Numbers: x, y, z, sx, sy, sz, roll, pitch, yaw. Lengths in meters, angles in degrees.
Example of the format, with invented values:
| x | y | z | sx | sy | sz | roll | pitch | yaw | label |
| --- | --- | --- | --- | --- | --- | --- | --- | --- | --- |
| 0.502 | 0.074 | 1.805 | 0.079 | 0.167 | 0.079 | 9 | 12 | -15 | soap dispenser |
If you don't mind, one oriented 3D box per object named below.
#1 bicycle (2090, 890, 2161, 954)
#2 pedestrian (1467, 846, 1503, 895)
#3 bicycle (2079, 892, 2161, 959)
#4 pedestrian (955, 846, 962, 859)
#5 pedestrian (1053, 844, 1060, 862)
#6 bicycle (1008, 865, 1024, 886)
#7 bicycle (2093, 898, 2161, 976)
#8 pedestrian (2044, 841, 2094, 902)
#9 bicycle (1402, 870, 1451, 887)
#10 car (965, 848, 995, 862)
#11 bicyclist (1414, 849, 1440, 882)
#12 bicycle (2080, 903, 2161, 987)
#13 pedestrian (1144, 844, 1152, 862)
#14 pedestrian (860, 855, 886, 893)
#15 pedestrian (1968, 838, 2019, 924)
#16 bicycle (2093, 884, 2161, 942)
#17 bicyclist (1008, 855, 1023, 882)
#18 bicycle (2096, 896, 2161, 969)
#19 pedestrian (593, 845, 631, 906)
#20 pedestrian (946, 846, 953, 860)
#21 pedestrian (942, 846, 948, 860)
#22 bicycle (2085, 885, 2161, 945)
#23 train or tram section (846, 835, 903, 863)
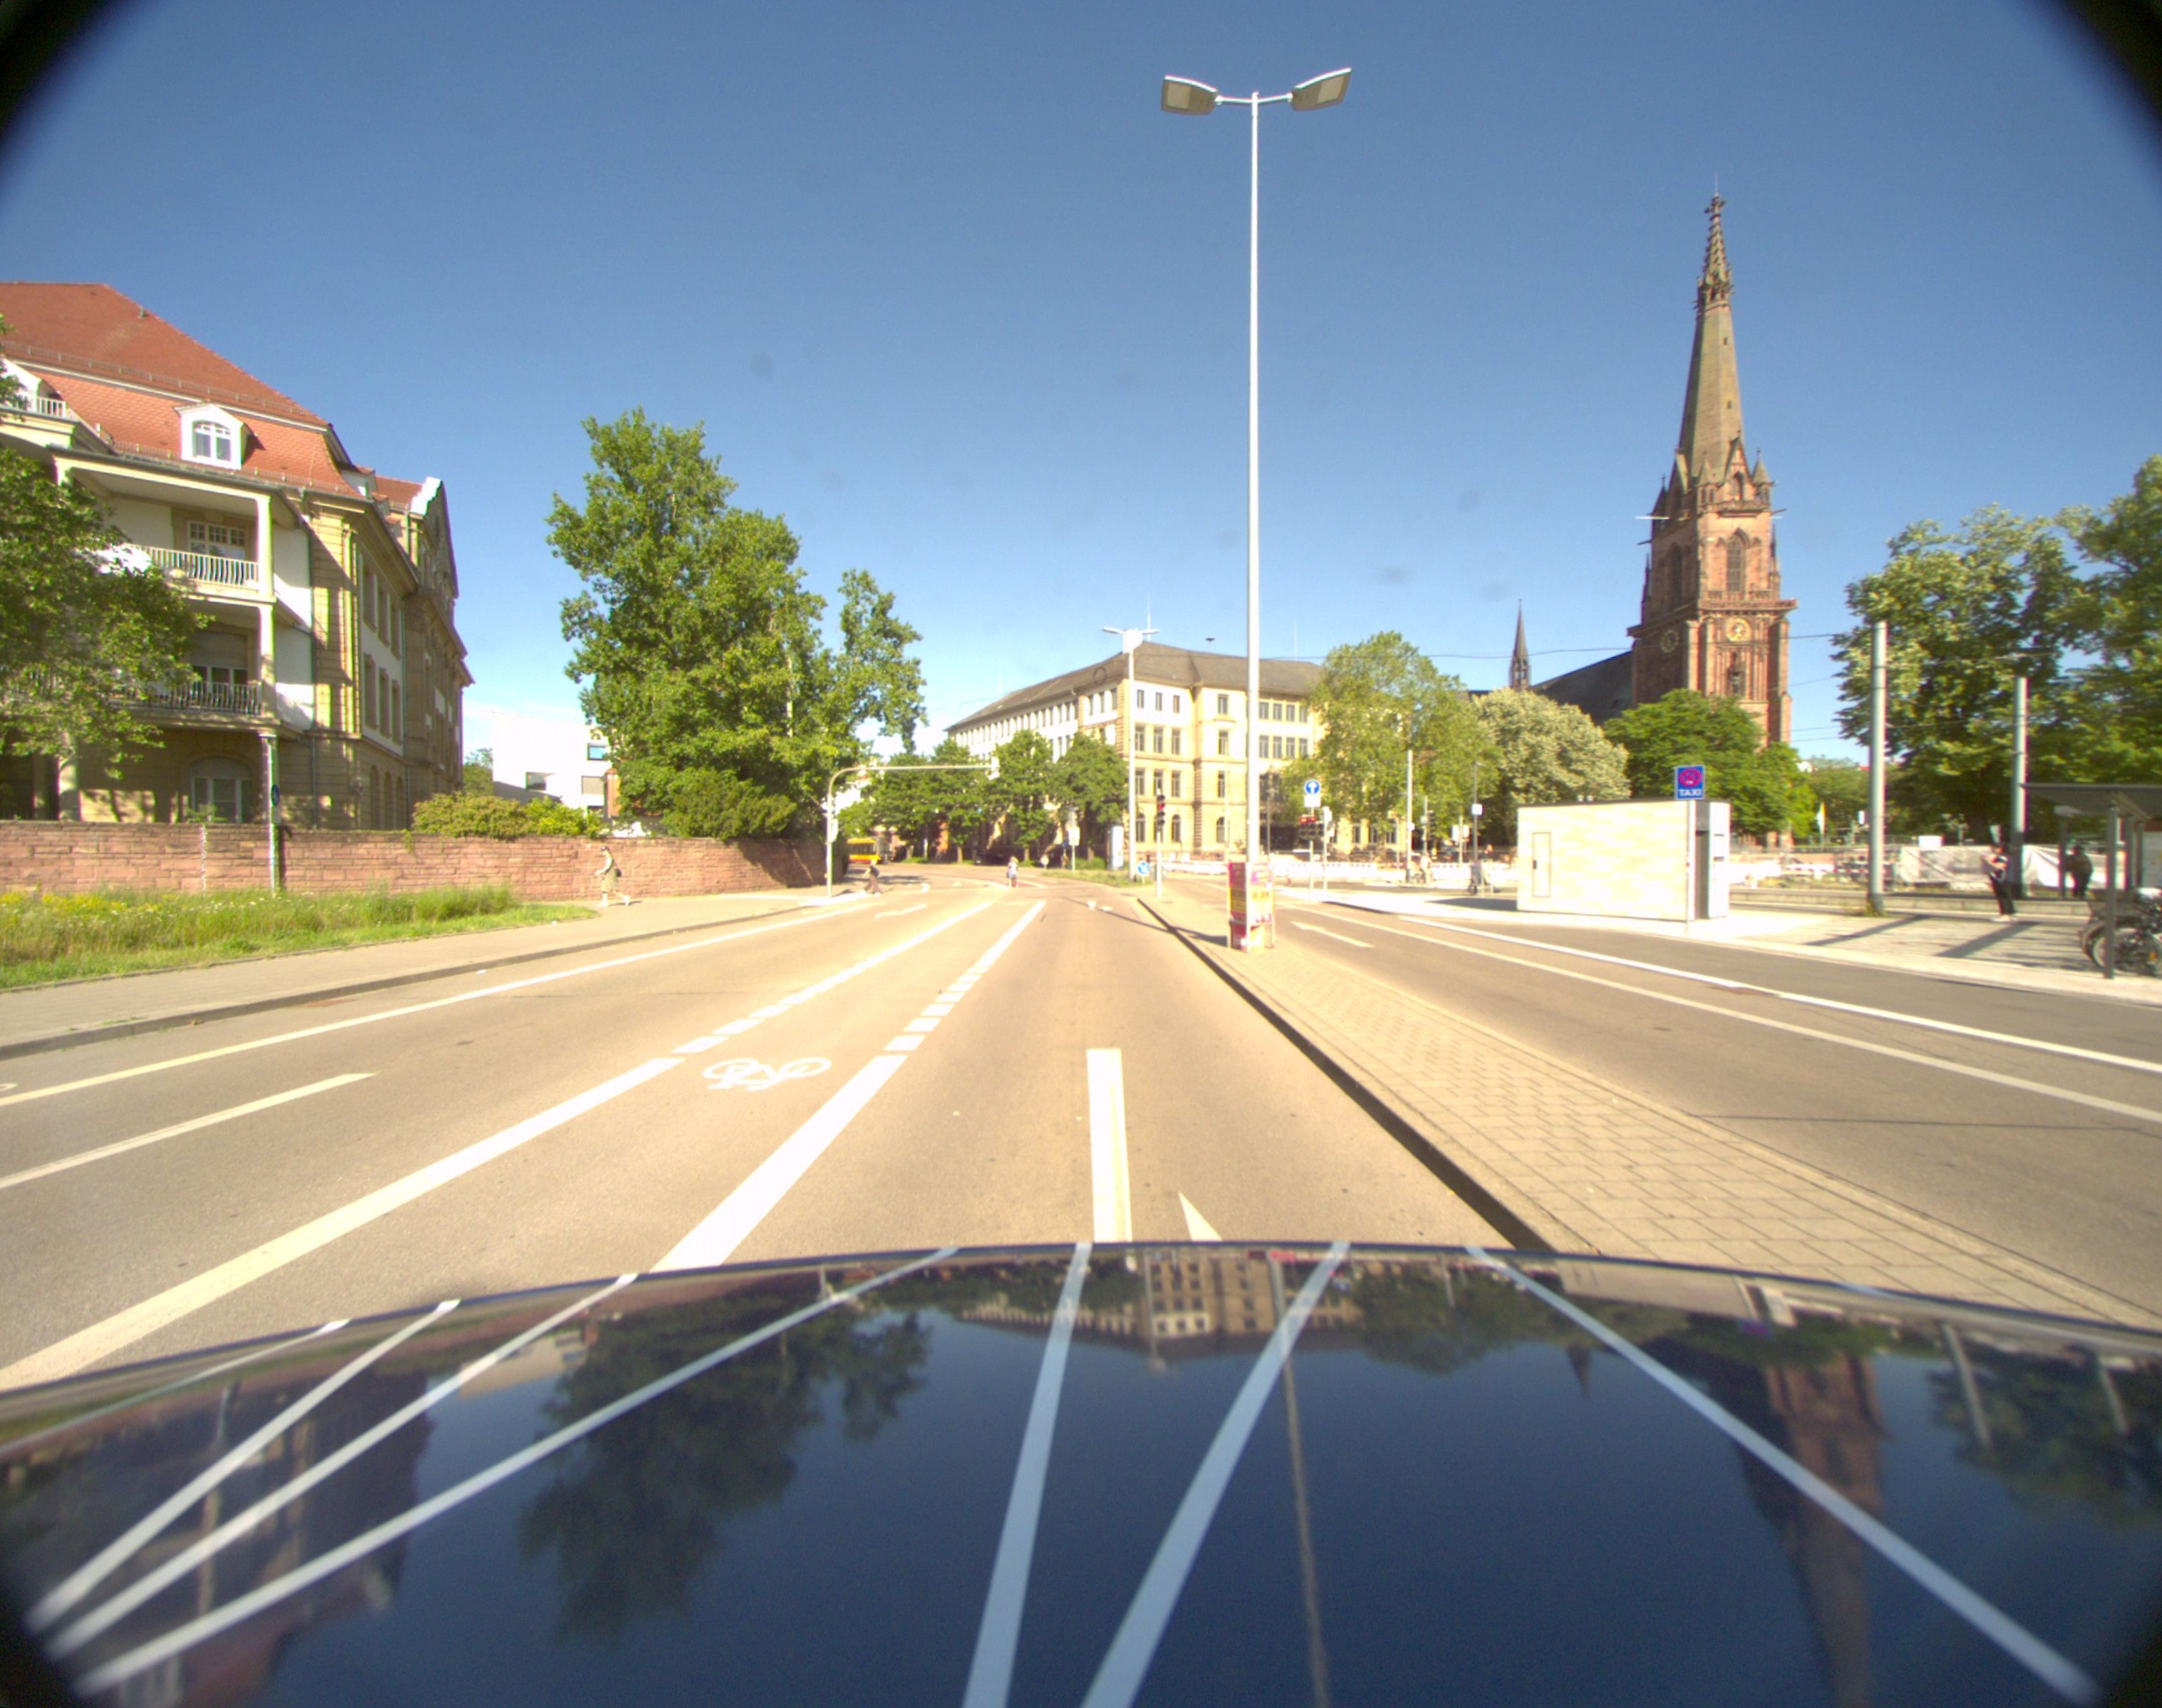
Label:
| x | y | z | sx | sy | sz | roll | pitch | yaw | label |
| --- | --- | --- | --- | --- | --- | --- | --- | --- | --- |
| 17.969 | 1.137 | 12.460 | 0.407 | 0.993 | 1.679 | -3 | 2 | -33 | bicycle |
| 14.537 | 0.584 | 27.350 | 1.001 | 1.733 | 0.631 | 0 | 1 | 8 | pedestrian |
| 17.189 | 1.141 | 12.013 | 0.407 | 0.993 | 1.679 | -3 | 2 | -33 | bicycle |
| -17.366 | -0.196 | 107.732 | 0.578 | 1.893 | 0.849 | -1 | 1 | -36 | pedestrian |
| -2.744 | -0.137 | 84.911 | 0.557 | 2.002 | 0.645 | -1 | 1 | -37 | pedestrian |
| -3.417 | 1.120 | 39.698 | 0.741 | 0.989 | 2.305 | -2 | 1 | -6 | bicycle |
| 15.035 | 1.166 | 10.209 | 0.407 | 0.993 | 1.678 | -3 | 3 | -33 | bicycle |
| 30.614 | 0.526 | 23.551 | 0.619 | 1.849 | 0.703 | 0 | 1 | 11 | pedestrian |
| 16.772 | 1.185 | 36.877 | 2.052 | 0.777 | 0.741 | 0 | 1 | -6 | bicycle |
| -12.033 | 0.139 | 90.608 | 1.839 | 1.587 | 3.989 | -1 | 1 | -37 | car |
| 16.766 | 0.554 | 36.856 | 0.886 | 1.562 | 0.740 | 0 | 1 | -8 | bicyclist |
| 13.990 | 1.188 | 9.551 | 0.407 | 0.993 | 1.678 | -3 | 3 | -33 | bicycle |
| 6.162 | -0.096 | 69.883 | 0.540 | 1.710 | 0.545 | -1 | 1 | -37 | pedestrian |
| -9.166 | 0.889 | 33.570 | 0.931 | 1.657 | 0.631 | 0 | 1 | 5 | pedestrian |
| 20.324 | 0.584 | 16.924 | 0.622 | 1.849 | 0.700 | -1 | 1 | -39 | pedestrian |
| 19.518 | 1.064 | 13.580 | 0.407 | 0.993 | 1.679 | -3 | 2 | -33 | bicycle |
| -3.435 | 0.753 | 39.678 | 0.741 | 1.363 | 0.626 | -2 | 1 | -6 | bicyclist |
| 16.133 | 1.182 | 11.000 | 0.407 | 0.993 | 1.678 | -3 | 3 | -33 | bicycle |
| -14.488 | 0.638 | 23.462 | 0.628 | 1.847 | 0.789 | 1 | 1 | 37 | pedestrian |
| -18.618 | -0.148 | 107.686 | 0.578 | 1.893 | 0.849 | -1 | 1 | -36 | pedestrian |
| -19.205 | -0.118 | 107.119 | 0.578 | 1.893 | 0.781 | -1 | 1 | -36 | pedestrian |
| 19.033 | 1.084 | 13.338 | 0.407 | 0.993 | 1.679 | -3 | 2 | -33 | bicycle |
| -27.149 | -0.675 | 99.273 | 2.946 | 3.500 | 13.803 | -1 | 1 | -34 | train or tram section |
